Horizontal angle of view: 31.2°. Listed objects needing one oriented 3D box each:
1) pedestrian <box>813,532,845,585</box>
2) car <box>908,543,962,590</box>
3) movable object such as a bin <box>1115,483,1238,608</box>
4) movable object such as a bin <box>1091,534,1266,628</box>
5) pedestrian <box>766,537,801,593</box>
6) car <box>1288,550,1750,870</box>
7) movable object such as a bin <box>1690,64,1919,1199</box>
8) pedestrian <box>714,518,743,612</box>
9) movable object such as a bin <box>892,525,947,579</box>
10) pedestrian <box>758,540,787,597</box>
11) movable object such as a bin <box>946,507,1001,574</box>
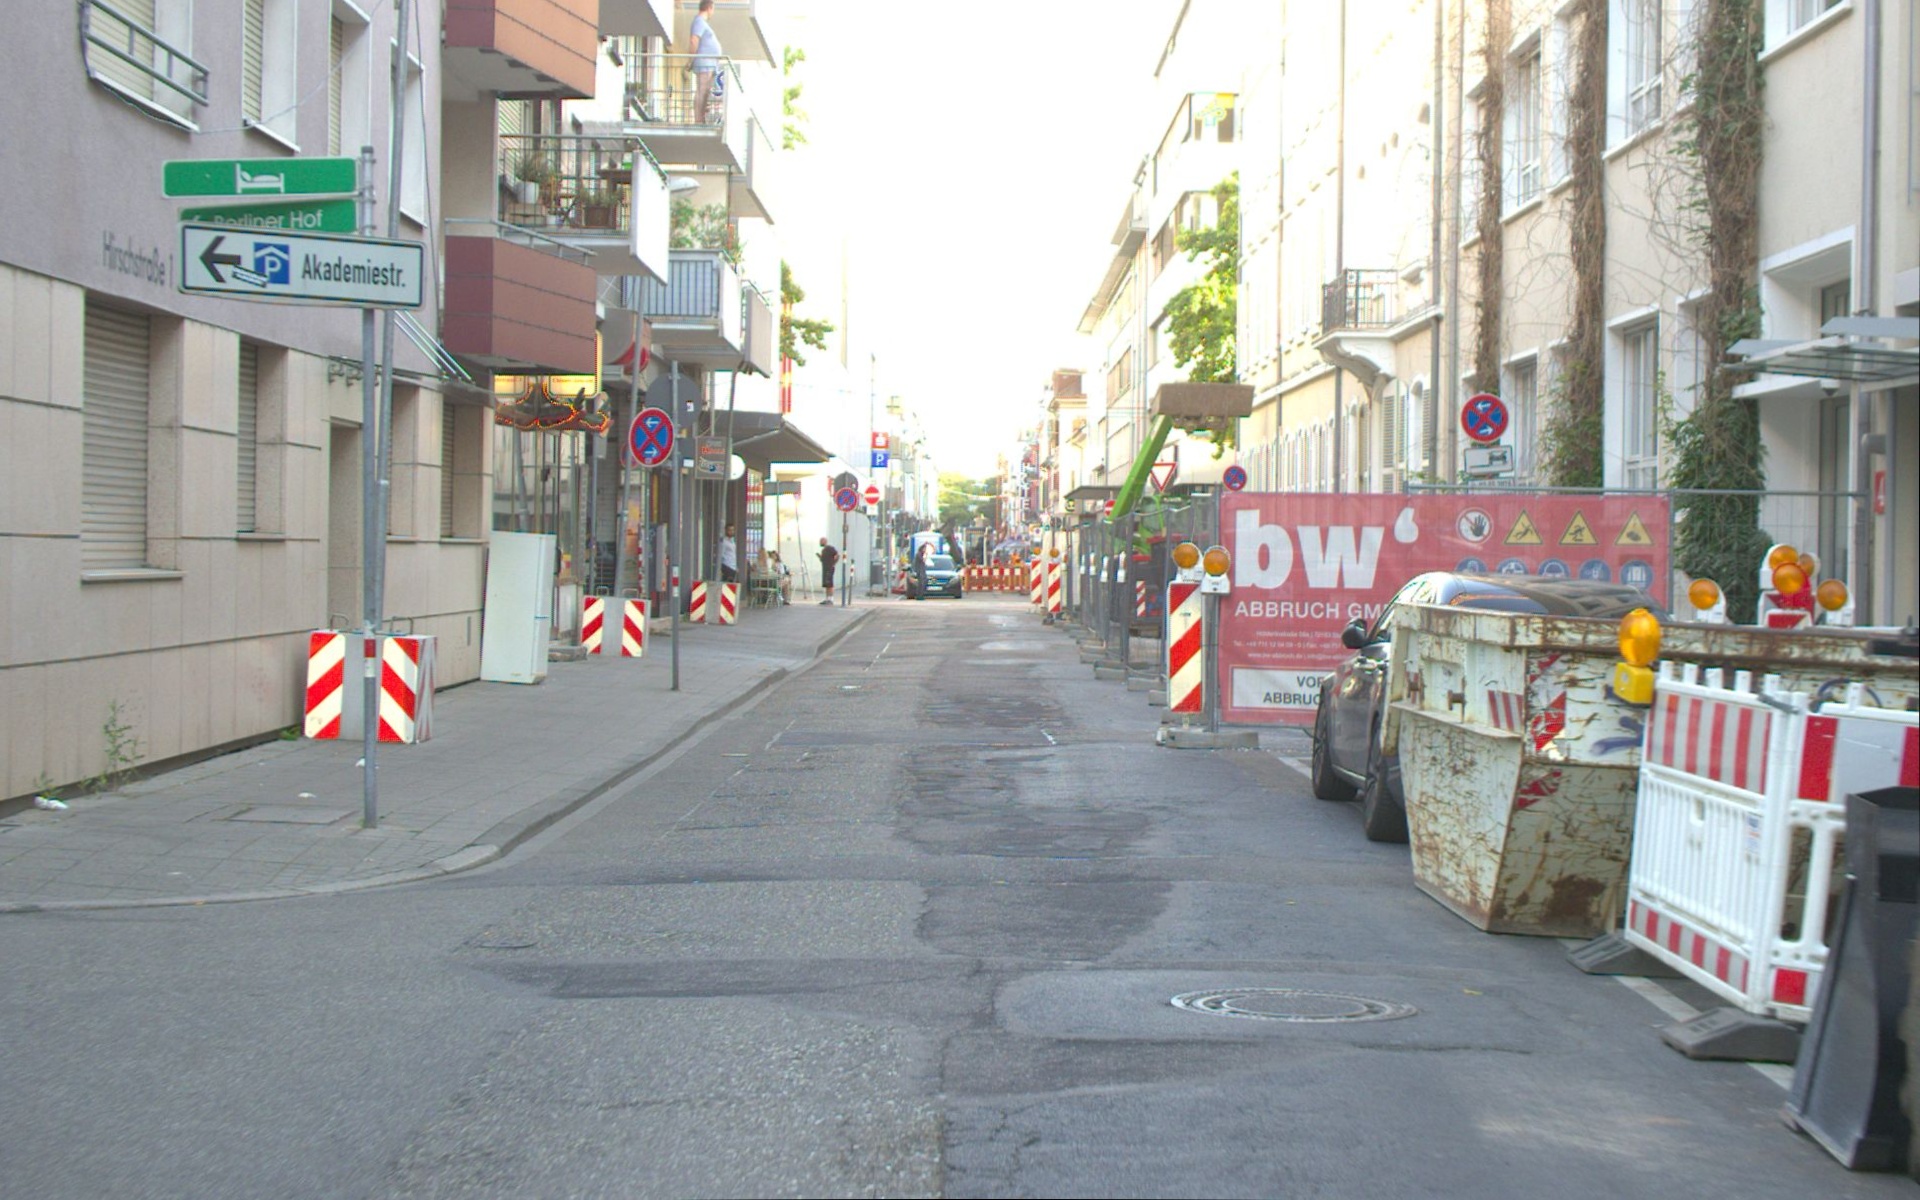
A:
[{"bbox_3d":[-3.216,-1.020,84.552,0.711,1.271,0.704,1,1,1],"label":"pedestrian"},{"bbox_3d":[-0.852,-1.131,114.376,1.629,1.545,3.143,0,1,-3],"label":"car"},{"bbox_3d":[5.027,-1.278,80.529,2.605,2.829,4.450,0,1,0],"label":"movable object such as a bin"},{"bbox_3d":[4.111,-0.414,66.114,2.736,1.633,7.553,2,1,-1],"label":"movable object such as a bin"},{"bbox_3d":[-4.125,-0.814,80.379,0.702,1.271,0.713,3,1,0],"label":"pedestrian"},{"bbox_3d":[2.978,0.514,19.253,1.787,1.466,4.446,3,1,0],"label":"car"},{"bbox_3d":[3.096,0.178,6.727,2.016,2.614,5.751,3,2,1],"label":"movable object such as a bin"},{"bbox_3d":[-4.552,-0.696,67.593,0.530,1.828,0.563,1,1,-6],"label":"pedestrian"},{"bbox_3d":[-1.502,-1.818,129.563,1.993,2.007,4.000,0,1,1],"label":"movable object such as a bin"},{"bbox_3d":[-4.261,-0.725,78.154,0.573,1.271,0.713,3,1,0],"label":"pedestrian"},{"bbox_3d":[0.556,-2.426,139.636,2.156,2.654,4.573,1,1,0],"label":"movable object such as a bin"}]
